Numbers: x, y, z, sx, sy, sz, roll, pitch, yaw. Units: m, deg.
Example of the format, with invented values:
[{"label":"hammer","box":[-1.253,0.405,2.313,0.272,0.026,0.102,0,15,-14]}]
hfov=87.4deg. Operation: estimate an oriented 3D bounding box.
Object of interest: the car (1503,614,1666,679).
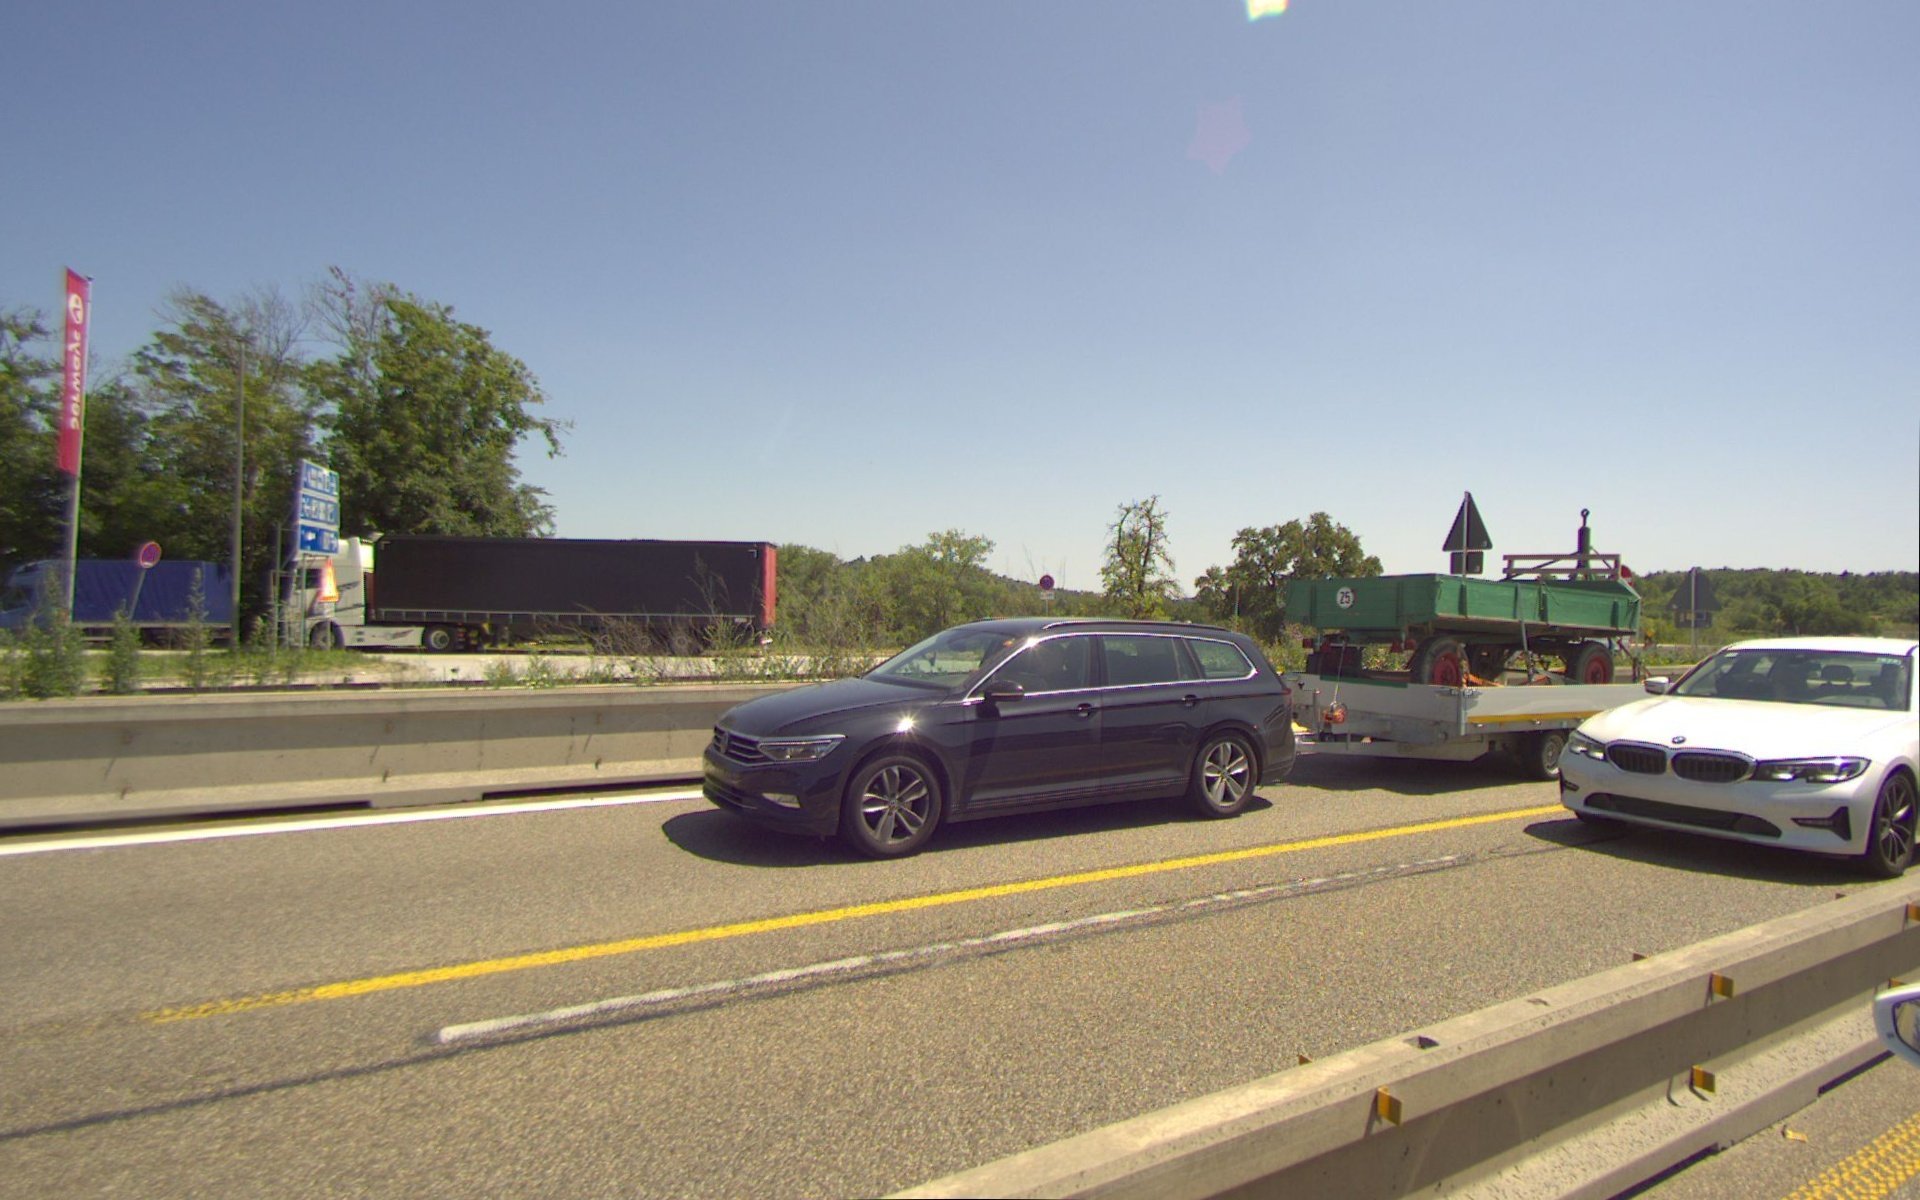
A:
[{"label":"car","box":[20.490,1.474,32.959,5.016,1.967,1.915,0,0,-21]}]

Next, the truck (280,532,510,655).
[{"label":"truck","box":[-19.731,-0.185,35.444,6.224,4.038,3.159,1,-1,-3]}]

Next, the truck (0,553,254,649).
[{"label":"truck","box":[-29.083,0.074,34.759,6.991,3.104,2.825,1,-1,-8]}]

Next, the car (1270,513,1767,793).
[{"label":"car","box":[6.432,0.494,11.205,6.377,2.431,1.904,1,0,-31]}]

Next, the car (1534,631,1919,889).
[{"label":"car","box":[6.376,0.956,7.508,4.198,1.394,1.807,1,-1,-31]}]

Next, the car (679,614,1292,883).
[{"label":"car","box":[0.303,0.851,7.374,4.285,1.472,1.679,1,-1,-31]}]

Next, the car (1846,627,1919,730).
[{"label":"car","box":[17.465,1.330,17.628,3.953,1.618,1.758,0,0,-31]}]

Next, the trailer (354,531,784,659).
[{"label":"trailer","box":[-13.522,-0.120,35.805,13.889,4.166,3.159,1,-1,-3]}]
